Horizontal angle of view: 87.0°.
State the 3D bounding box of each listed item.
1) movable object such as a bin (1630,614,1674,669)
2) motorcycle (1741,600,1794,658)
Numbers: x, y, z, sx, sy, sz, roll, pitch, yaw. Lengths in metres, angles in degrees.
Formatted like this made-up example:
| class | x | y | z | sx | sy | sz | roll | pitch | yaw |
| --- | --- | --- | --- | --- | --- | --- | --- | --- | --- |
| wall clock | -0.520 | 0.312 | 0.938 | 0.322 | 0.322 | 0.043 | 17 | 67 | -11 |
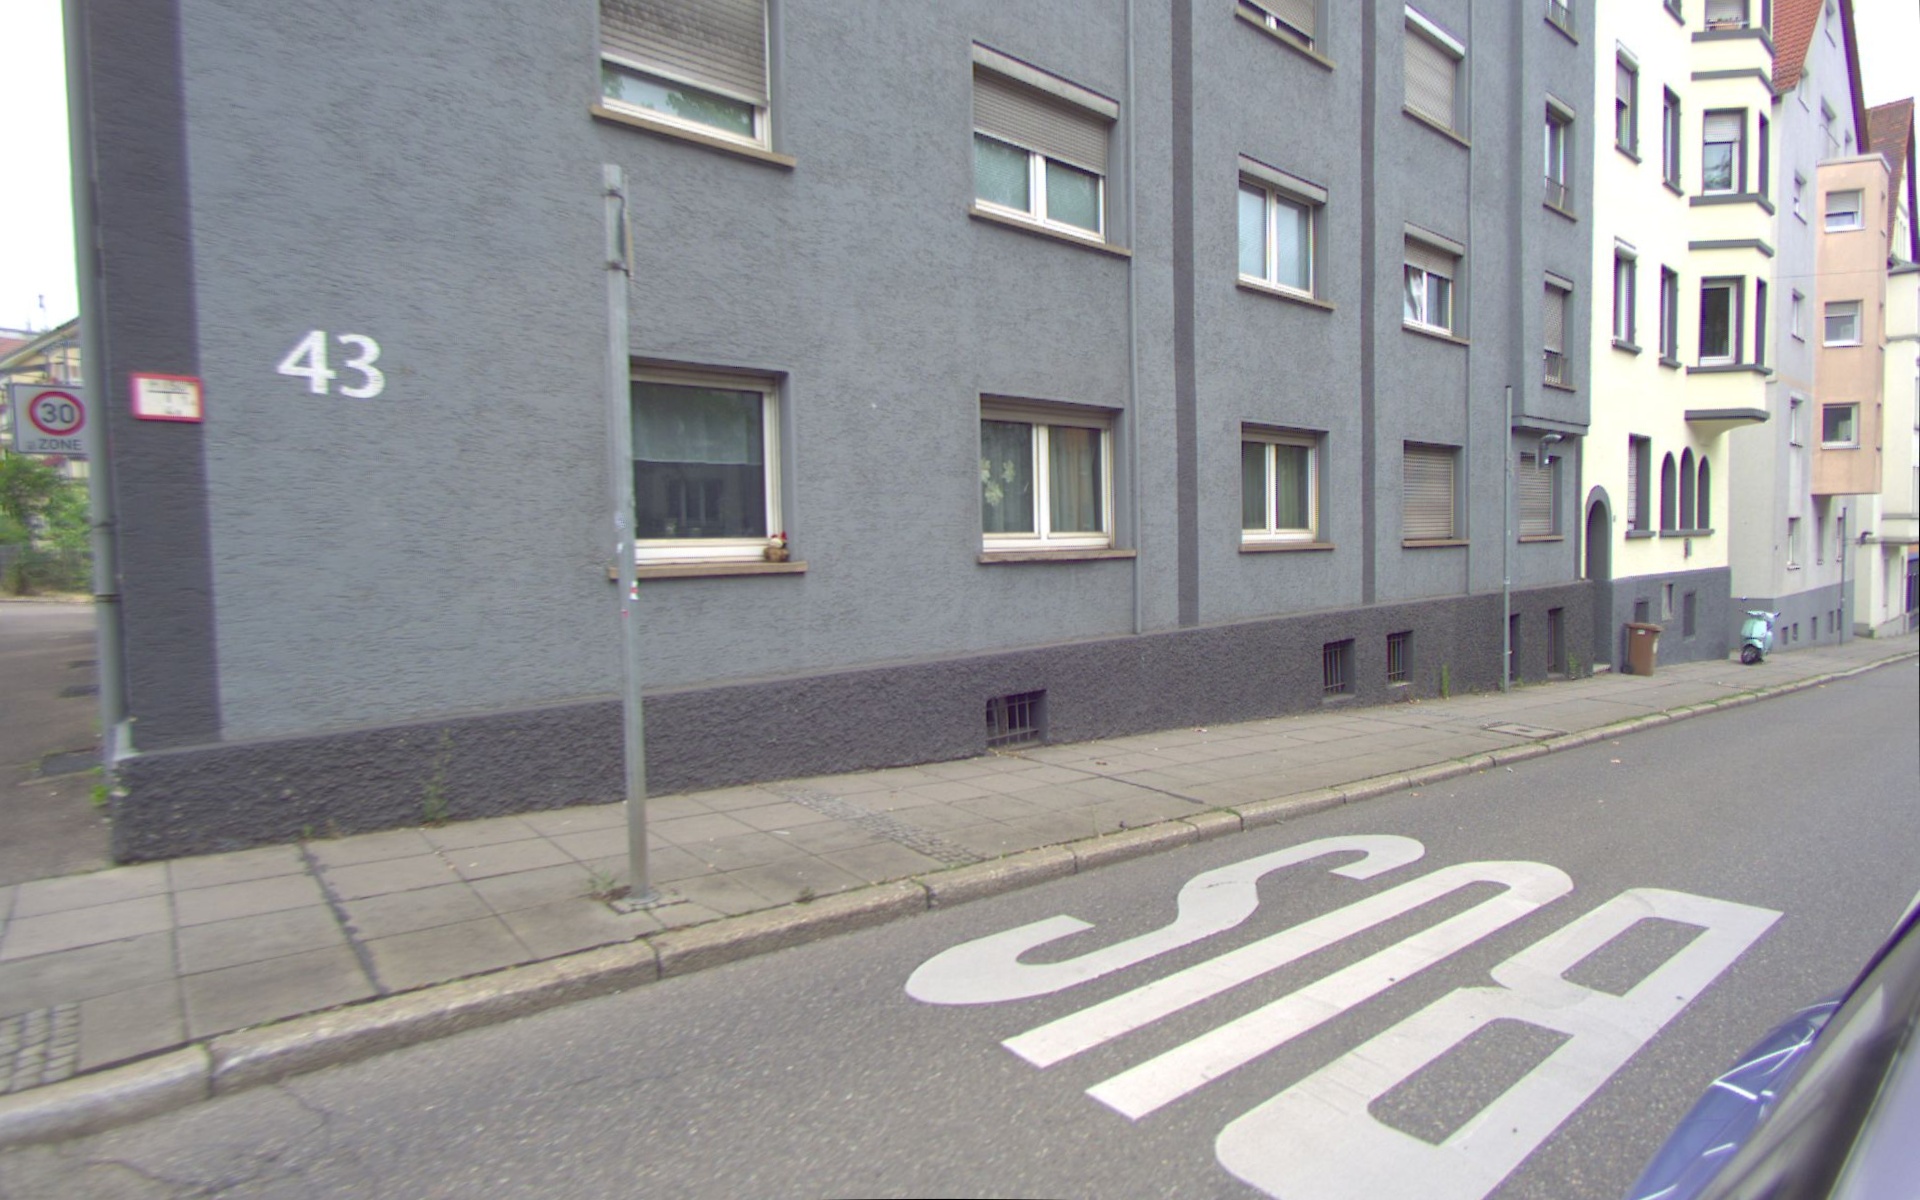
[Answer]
| class | x | y | z | sx | sy | sz | roll | pitch | yaw |
| --- | --- | --- | --- | --- | --- | --- | --- | --- | --- |
| movable object such as a bin | 12.249 | 0.722 | 17.916 | 0.508 | 0.902 | 0.476 | 0 | 4 | -41 |
| motorcycle | 17.657 | 0.616 | 22.102 | 2.189 | 1.170 | 0.538 | 0 | 4 | -44 |
